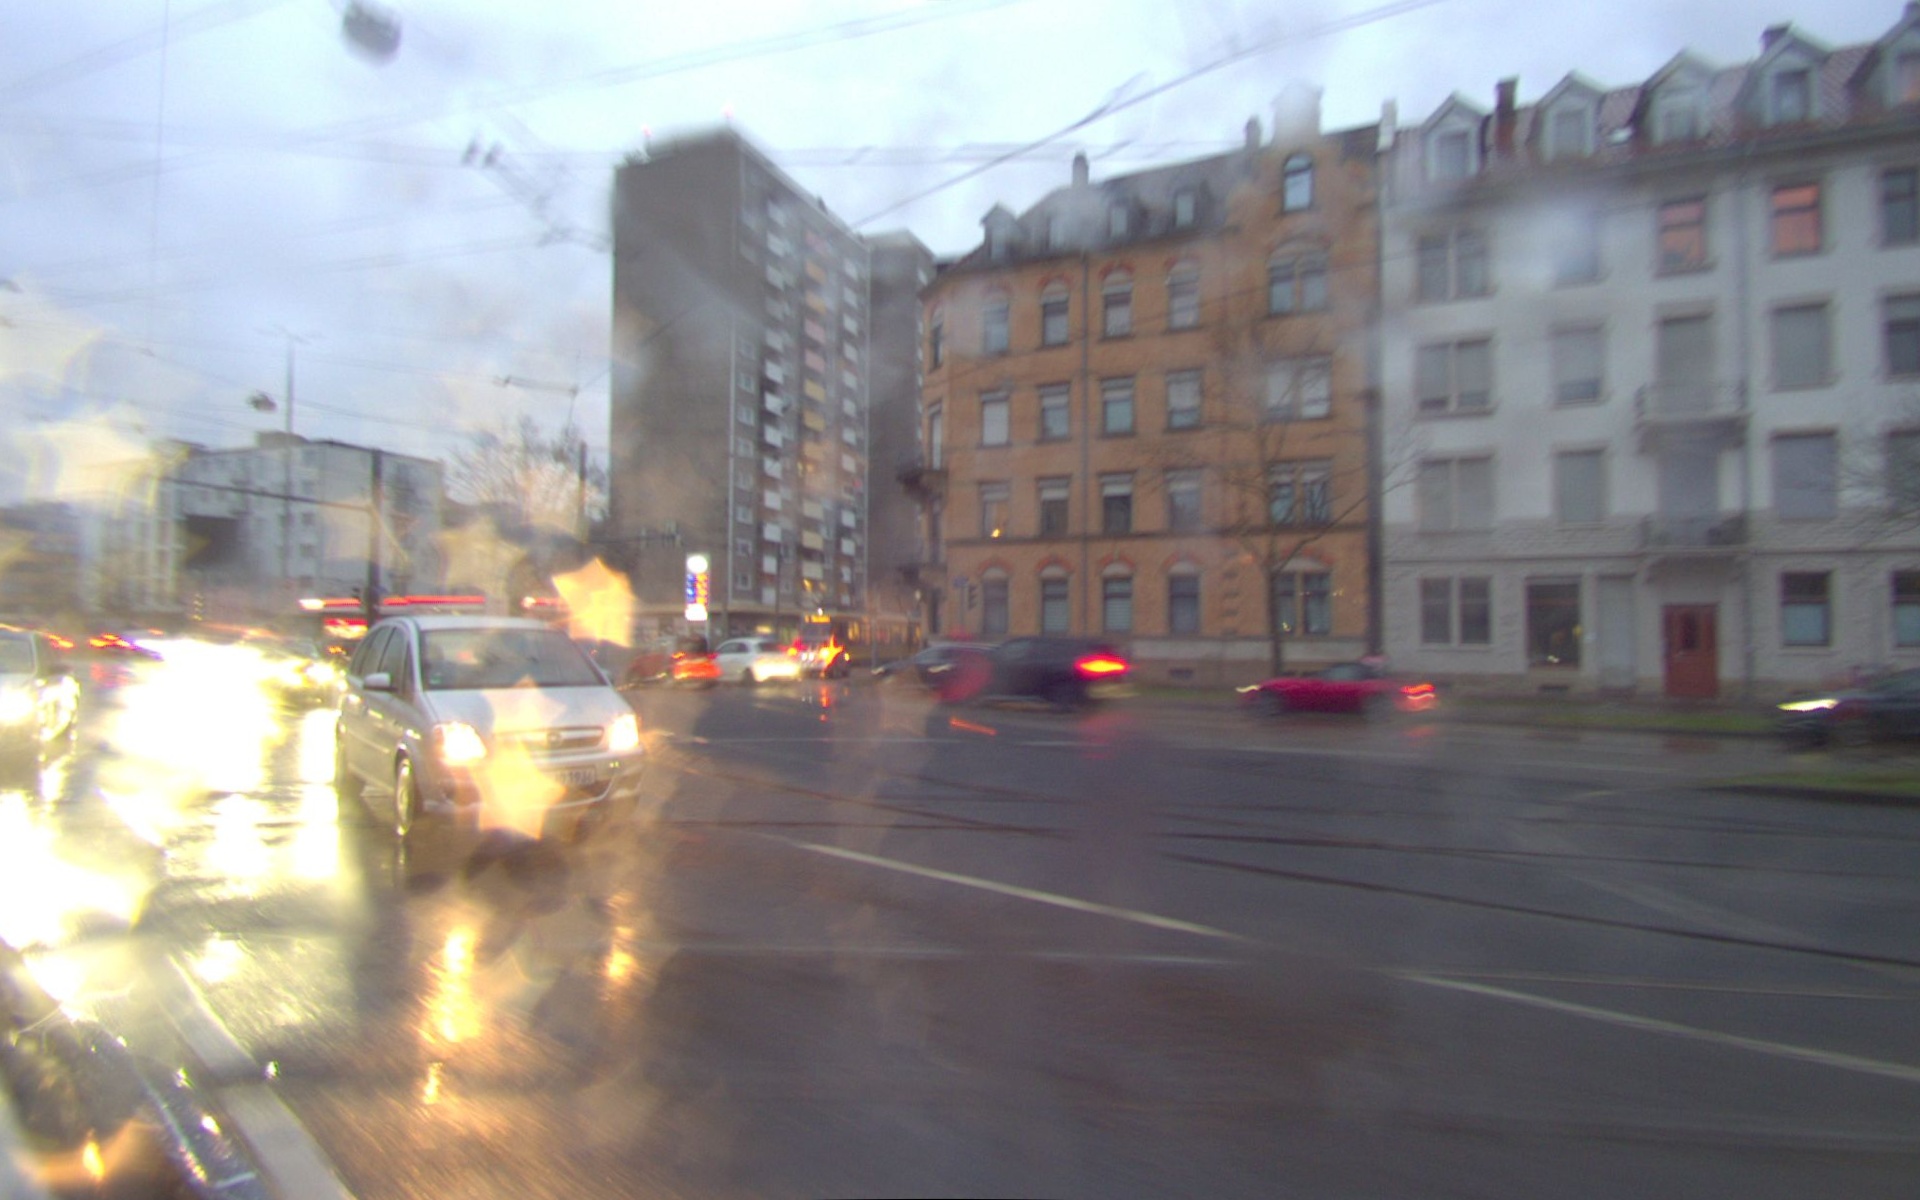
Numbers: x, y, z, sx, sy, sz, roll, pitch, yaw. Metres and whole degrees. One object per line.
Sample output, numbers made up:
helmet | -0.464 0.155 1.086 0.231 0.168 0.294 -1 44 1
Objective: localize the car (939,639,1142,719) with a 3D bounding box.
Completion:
car | 1.697 1.640 21.838 4.109 1.565 1.667 -1 -3 33

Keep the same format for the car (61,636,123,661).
car | -57.414 3.212 66.920 4.641 1.643 1.634 -2 -4 30

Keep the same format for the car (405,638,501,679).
car | -19.460 2.211 38.780 4.330 1.468 1.663 -2 -3 40

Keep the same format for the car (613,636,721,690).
car | -8.694 1.826 29.967 3.147 1.498 1.473 -1 -3 37

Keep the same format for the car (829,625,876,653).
car | -7.946 2.888 75.316 1.985 2.029 3.973 0 -2 20

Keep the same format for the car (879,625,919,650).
car | -5.094 3.106 85.278 1.985 2.029 3.973 0 -2 20

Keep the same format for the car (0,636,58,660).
car | -60.148 3.074 65.252 3.831 1.461 1.634 0 -2 26

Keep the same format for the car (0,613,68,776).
car | -11.064 0.955 11.124 1.624 1.596 3.812 2 -2 -38

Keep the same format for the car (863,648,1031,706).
car | -0.394 1.975 26.787 4.382 1.364 1.664 -1 -3 38

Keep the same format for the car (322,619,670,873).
car | -4.011 0.970 8.351 1.624 1.560 4.117 2 -3 -39

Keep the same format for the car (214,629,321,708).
car | -15.183 1.473 22.199 1.725 1.556 4.010 3 -4 -35

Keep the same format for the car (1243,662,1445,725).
car | 8.083 1.922 21.390 3.776 1.143 1.588 -1 -3 31

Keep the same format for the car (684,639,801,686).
car | -6.952 1.950 32.257 3.606 1.402 1.665 -1 -3 35

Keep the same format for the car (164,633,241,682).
car | -28.991 2.190 38.693 1.793 1.756 4.189 4 -5 -44

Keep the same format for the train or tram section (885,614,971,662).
train or tram section | -2.142 2.708 74.426 3.141 3.262 11.093 0 -1 16

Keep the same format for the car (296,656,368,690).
car | -29.727 3.409 47.865 4.059 1.468 1.663 -2 -3 40

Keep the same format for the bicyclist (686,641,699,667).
bicyclist | -14.392 2.890 54.404 0.499 1.401 0.969 0 -2 -3

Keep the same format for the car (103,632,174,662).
car | -57.815 3.304 71.244 4.829 1.961 1.982 -1 -5 27

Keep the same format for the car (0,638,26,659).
car | -70.249 3.524 73.989 3.981 1.498 1.635 -1 -4 28

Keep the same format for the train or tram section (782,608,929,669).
train or tram section | -5.808 2.203 61.285 3.141 3.212 16.224 0 -1 16

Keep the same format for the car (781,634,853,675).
car | -5.623 2.157 40.265 1.666 1.537 4.216 0 -3 9

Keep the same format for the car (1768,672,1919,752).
car | 16.186 1.852 16.788 4.067 1.236 1.527 -1 -3 28

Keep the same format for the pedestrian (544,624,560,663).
pedestrian | -19.008 2.011 47.157 0.461 1.785 0.629 2 -3 -43
